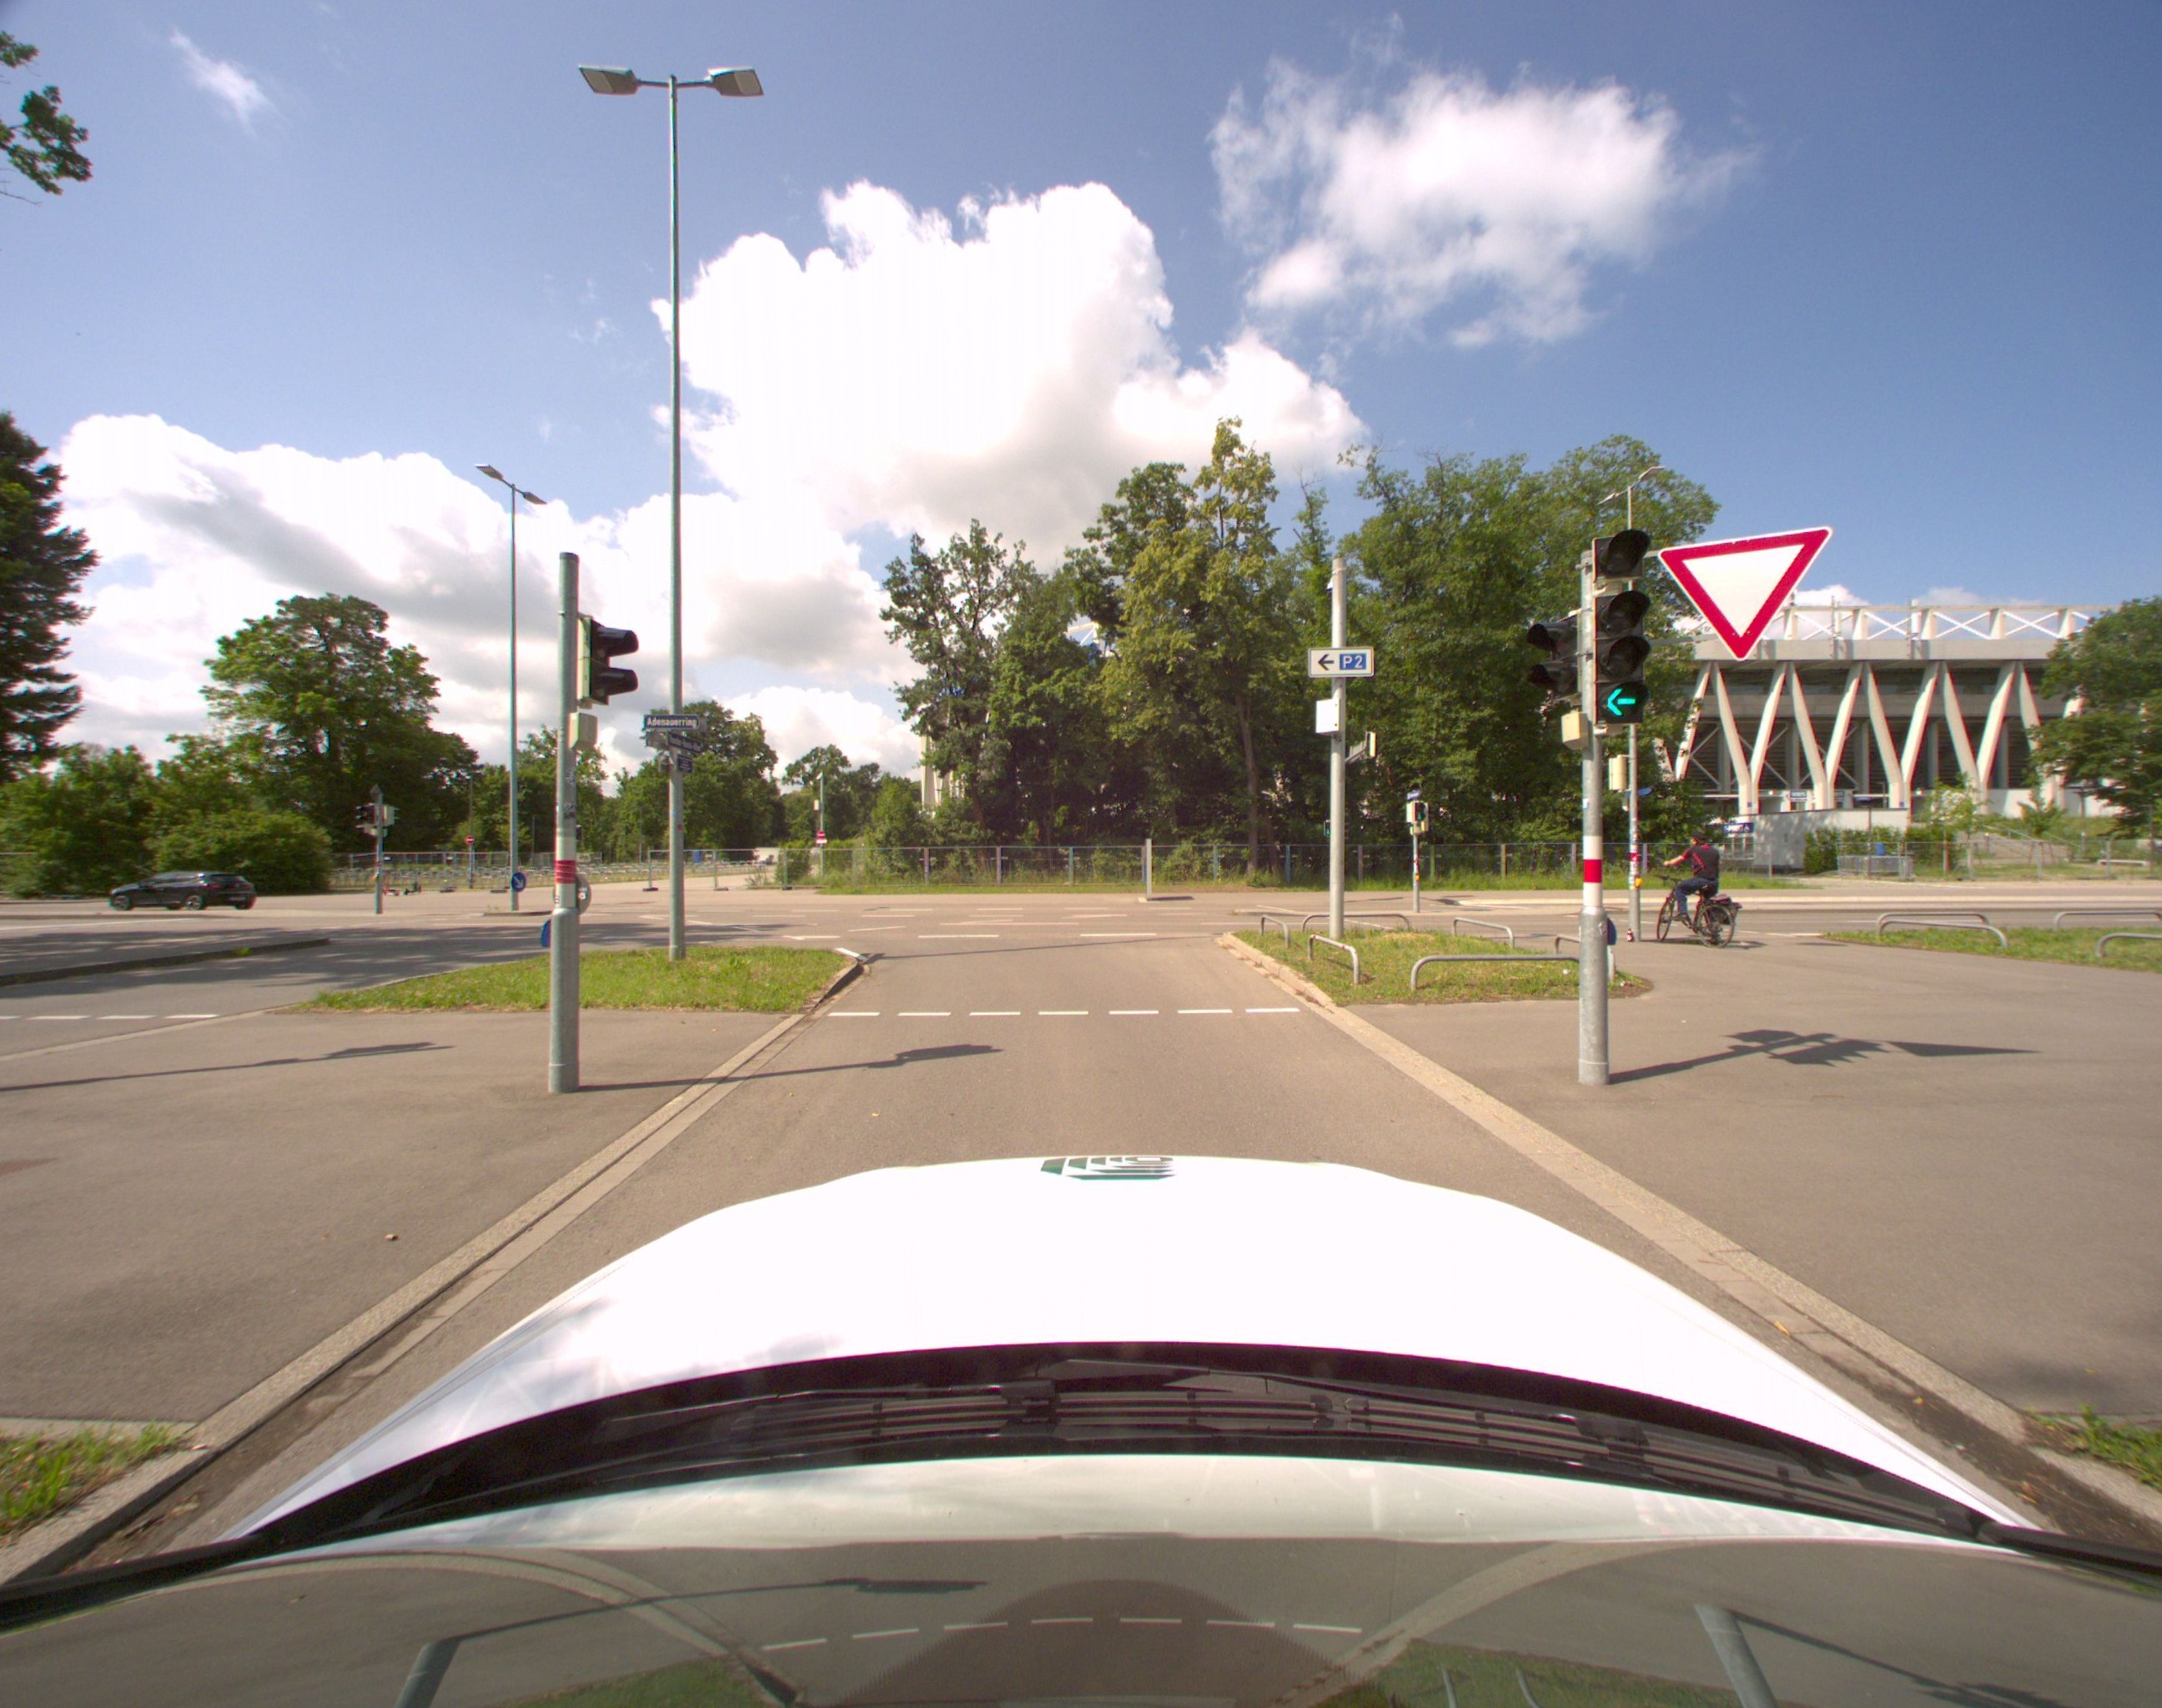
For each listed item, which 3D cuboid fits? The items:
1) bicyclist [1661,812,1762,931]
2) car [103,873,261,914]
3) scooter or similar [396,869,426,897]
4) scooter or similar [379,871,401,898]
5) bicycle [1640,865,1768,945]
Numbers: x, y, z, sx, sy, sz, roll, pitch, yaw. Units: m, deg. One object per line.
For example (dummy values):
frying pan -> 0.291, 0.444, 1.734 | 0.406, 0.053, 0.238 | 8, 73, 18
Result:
bicyclist -> 9.988, 0.283, 12.953 | 0.879, 1.798, 0.981 | -1, -2, 10
car -> -32.374, 1.396, 29.403 | 3.947, 1.378, 1.603 | -1, -2, 2
scooter or similar -> -32.037, 1.377, 38.956 | 0.405, 1.252, 1.310 | -1, 0, -4
scooter or similar -> -31.924, 1.413, 37.628 | 1.295, 1.200, 0.410 | -1, 0, 32
bicycle -> 10.029, 0.794, 13.218 | 0.875, 1.206, 1.903 | -1, -2, 11
